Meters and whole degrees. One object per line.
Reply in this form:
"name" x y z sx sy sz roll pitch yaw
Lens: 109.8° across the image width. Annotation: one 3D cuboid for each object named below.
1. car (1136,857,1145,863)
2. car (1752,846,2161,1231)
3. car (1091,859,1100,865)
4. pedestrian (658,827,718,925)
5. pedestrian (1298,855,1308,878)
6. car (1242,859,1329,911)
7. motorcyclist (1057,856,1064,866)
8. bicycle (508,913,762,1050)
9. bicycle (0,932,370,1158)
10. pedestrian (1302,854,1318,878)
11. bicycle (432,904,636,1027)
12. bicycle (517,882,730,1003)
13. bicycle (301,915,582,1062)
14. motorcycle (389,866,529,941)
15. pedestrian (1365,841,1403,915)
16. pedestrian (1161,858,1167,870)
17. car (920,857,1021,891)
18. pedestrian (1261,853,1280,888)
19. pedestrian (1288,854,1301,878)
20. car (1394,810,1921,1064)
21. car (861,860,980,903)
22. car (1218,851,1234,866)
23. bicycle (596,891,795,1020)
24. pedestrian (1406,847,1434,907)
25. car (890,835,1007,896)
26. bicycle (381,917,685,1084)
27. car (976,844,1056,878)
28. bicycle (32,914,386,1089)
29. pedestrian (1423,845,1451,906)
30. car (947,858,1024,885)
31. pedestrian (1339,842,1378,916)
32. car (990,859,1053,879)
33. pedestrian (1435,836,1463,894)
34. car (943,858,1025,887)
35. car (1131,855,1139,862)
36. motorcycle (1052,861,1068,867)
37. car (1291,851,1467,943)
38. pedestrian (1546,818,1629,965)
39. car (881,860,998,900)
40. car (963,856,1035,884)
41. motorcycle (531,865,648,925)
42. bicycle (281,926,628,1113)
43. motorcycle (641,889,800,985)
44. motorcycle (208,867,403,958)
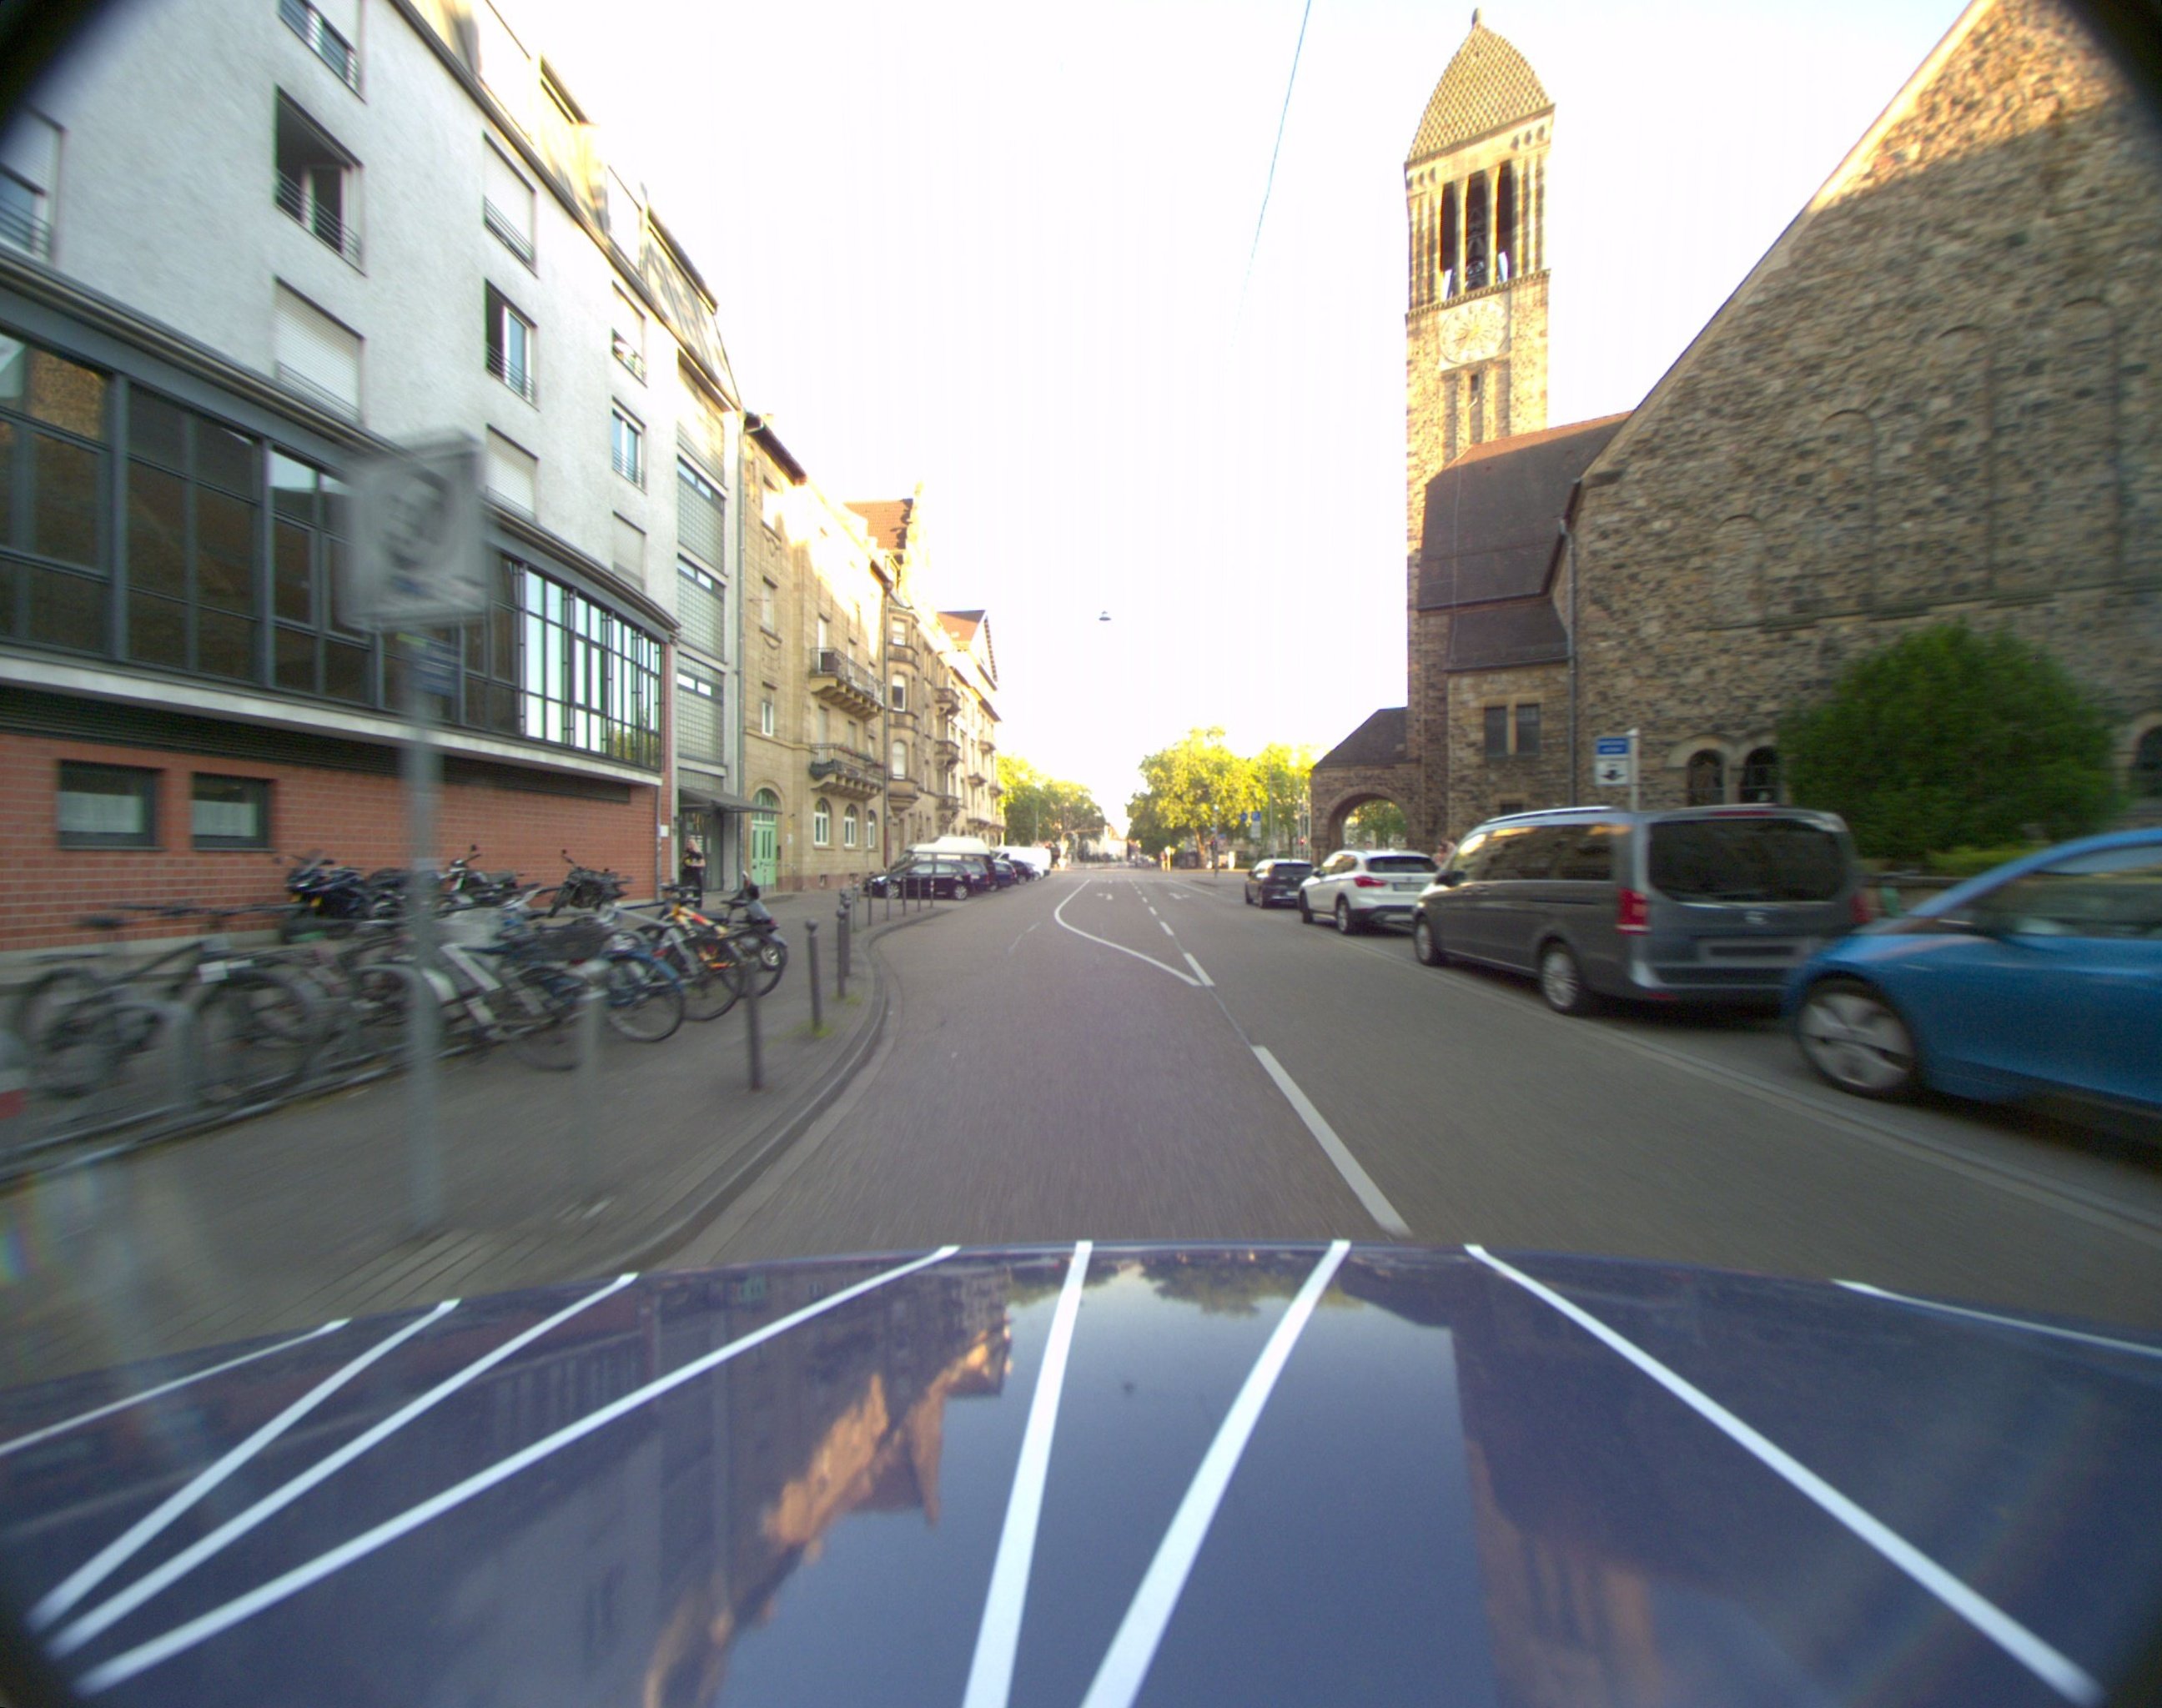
"car" 14.373 1.457 183.218 1.827 1.564 4.002 -1 0 7
"car" 5.150 0.731 3.024 1.644 1.546 4.005 -1 0 5
"car" 3.615 1.948 189.137 1.793 1.571 4.002 0 0 6
"pedestrian" -8.479 0.472 16.431 0.608 2.002 0.858 7 1 3
"pedestrian" 13.519 0.763 46.329 0.401 1.398 0.549 0 0 37
"car" 6.124 0.868 23.251 1.787 1.426 4.317 0 0 4
"motorcyclist" -3.066 1.056 112.513 0.830 1.510 0.622 0 0 -23
"bicycle" -3.734 1.055 6.426 1.862 1.032 0.472 1 0 1
"bicycle" -5.122 1.010 4.189 1.916 1.059 0.524 1 0 1
"pedestrian" 13.552 0.728 44.924 0.702 1.398 0.633 0 0 37
"bicycle" -5.060 1.018 7.067 1.543 1.032 0.472 1 0 1
"bicycle" -4.892 0.931 8.195 1.863 1.139 0.659 3 0 2
"bicycle" -4.970 1.030 5.944 1.862 1.032 0.402 1 0 1
"motorcycle" -10.578 0.793 13.065 0.778 1.133 2.414 1 0 -10
"pedestrian" 7.792 0.610 19.583 0.574 1.845 0.989 -1 0 -1
"pedestrian" 11.698 1.391 107.144 0.745 1.619 0.661 -1 0 20
"car" -5.287 0.961 36.485 4.406 1.477 1.839 2 0 -28
"pedestrian" 9.524 0.830 38.124 0.716 1.715 0.691 0 0 -7
"pedestrian" 13.120 0.745 46.675 0.549 1.445 0.559 0 0 37
"car" 5.335 0.632 8.270 1.998 1.855 5.291 -1 0 4
"car" -6.013 0.996 28.558 4.076 1.483 1.720 0 0 -28
"car" 20.174 0.578 105.656 1.865 2.002 3.816 0 0 17
"bicycle" -3.803 0.988 7.548 1.711 1.169 0.472 1 0 1
"pedestrian" 9.244 0.627 20.694 0.416 1.612 0.547 -1 0 -37
"car" -5.829 0.459 33.575 4.732 2.532 1.914 0 1 -26
"bicycle" -3.907 1.029 5.471 1.862 1.059 0.446 1 0 1
"car" -5.036 0.557 59.493 5.897 2.537 2.189 1 2 -38
"bicycle" -5.983 0.991 5.261 1.862 1.059 0.524 1 0 1
"pedestrian" 9.928 0.596 21.184 0.416 1.665 0.547 -1 0 -37
"car" -5.599 1.046 44.630 4.065 1.489 1.749 2 0 -33
"pedestrian" 7.129 0.632 19.537 0.648 1.868 0.891 -1 0 -1
"car" -4.444 1.133 56.747 4.263 1.445 1.994 1 0 -36
"pedestrian" 9.819 0.291 20.264 0.651 1.536 0.586 -1 0 26
"car" -5.353 1.022 42.154 4.042 1.423 1.863 2 0 -32
"car" 14.785 1.203 208.763 1.991 1.945 4.598 0 0 5
"motorcycle" -3.063 1.515 112.510 2.288 0.917 0.622 0 0 -23
"car" 5.745 0.747 15.312 1.876 1.582 4.469 0 0 1
"pedestrian" 6.800 0.486 10.233 0.583 1.894 0.803 0 0 -1
"car" -5.772 1.007 31.050 4.362 1.494 1.909 0 0 -25
"car" -5.097 1.006 47.523 4.107 1.598 1.811 2 0 -35
"motorcycle" -10.331 0.813 16.116 0.801 1.133 2.440 2 0 2
"bicycle" -3.986 1.036 4.889 1.862 1.059 0.446 1 0 1
"motorcycle" -4.506 1.032 9.583 1.649 1.095 0.647 2 0 -6
"motorcycle" -10.745 0.763 10.657 0.589 1.097 2.084 2 0 -1
